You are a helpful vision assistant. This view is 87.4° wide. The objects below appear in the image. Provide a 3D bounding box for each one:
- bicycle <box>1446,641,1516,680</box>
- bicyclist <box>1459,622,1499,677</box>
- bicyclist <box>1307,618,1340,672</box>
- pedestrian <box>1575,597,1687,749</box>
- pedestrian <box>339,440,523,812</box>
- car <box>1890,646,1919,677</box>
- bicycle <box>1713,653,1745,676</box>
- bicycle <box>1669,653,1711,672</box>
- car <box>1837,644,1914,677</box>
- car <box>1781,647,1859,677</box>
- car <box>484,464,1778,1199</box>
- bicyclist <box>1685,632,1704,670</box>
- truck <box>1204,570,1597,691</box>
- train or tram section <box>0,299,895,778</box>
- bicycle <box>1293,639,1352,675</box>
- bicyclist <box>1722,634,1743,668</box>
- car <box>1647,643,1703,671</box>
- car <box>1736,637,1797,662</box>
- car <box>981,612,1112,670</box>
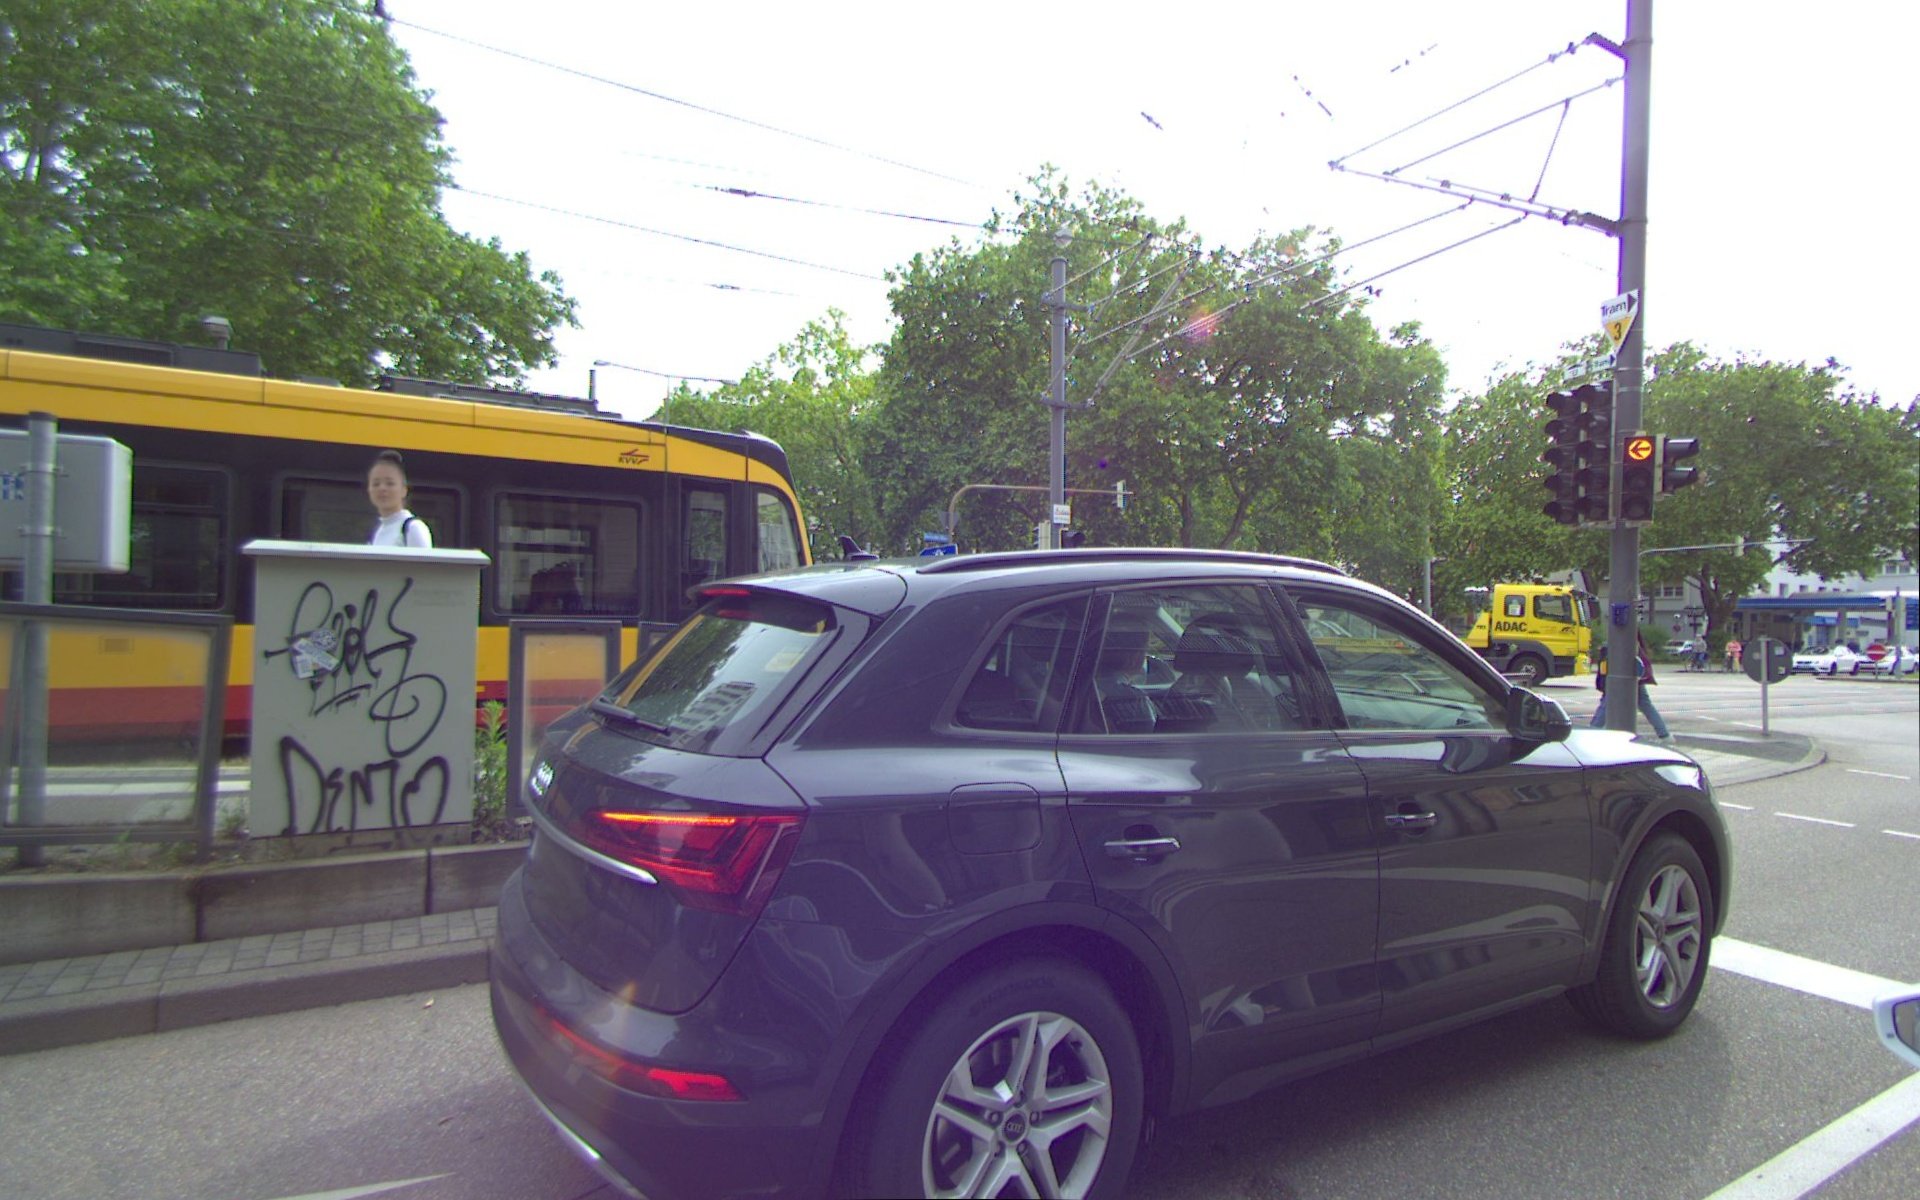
[{"bbox_3d":[16.948,1.944,32.694,1.914,1.151,0.732,2,0,40],"label":"bicycle"},{"bbox_3d":[16.917,1.596,32.743,1.026,1.706,0.641,2,0,41],"label":"bicyclist"},{"bbox_3d":[12.982,1.597,35.886,0.951,1.843,0.531,2,0,32],"label":"bicyclist"},{"bbox_3d":[7.886,0.838,11.832,0.851,1.702,0.673,2,0,9],"label":"pedestrian"},{"bbox_3d":[-2.657,0.124,5.055,0.722,1.683,0.750,2,0,-30],"label":"pedestrian"},{"bbox_3d":[52.835,3.378,54.898,3.792,1.578,1.885,2,0,-30],"label":"car"},{"bbox_3d":[36.922,3.098,48.236,1.914,1.031,0.519,2,0,-30],"label":"bicycle"},{"bbox_3d":[35.734,3.049,49.202,0.644,0.783,1.682,2,0,-9],"label":"bicycle"},{"bbox_3d":[46.882,3.089,51.425,3.792,1.578,1.885,2,0,-30],"label":"car"},{"bbox_3d":[41.369,2.977,48.307,3.954,1.343,1.626,2,0,-31],"label":"car"},{"bbox_3d":[0.808,0.660,3.531,4.308,1.622,1.870,2,-1,-31],"label":"car"},{"bbox_3d":[35.884,2.470,49.065,0.461,1.808,0.534,2,0,-10],"label":"bicyclist"},{"bbox_3d":[12.341,0.708,28.875,10.005,2.980,2.630,1,0,33],"label":"truck"},{"bbox_3d":[-8.276,-0.491,8.824,15.665,3.636,3.045,2,0,-31],"label":"train or tram section"},{"bbox_3d":[12.959,2.036,35.889,1.873,1.158,0.627,2,0,32],"label":"bicycle"},{"bbox_3d":[37.251,2.462,48.418,0.611,1.588,0.585,2,0,-30],"label":"bicyclist"},{"bbox_3d":[45.203,3.582,63.516,3.802,1.578,1.879,2,0,-38],"label":"car"},{"bbox_3d":[54.729,3.362,68.164,3.954,1.550,1.984,2,0,-30],"label":"car"},{"bbox_3d":[3.399,1.582,39.960,4.798,1.993,1.983,2,0,35],"label":"car"}]
